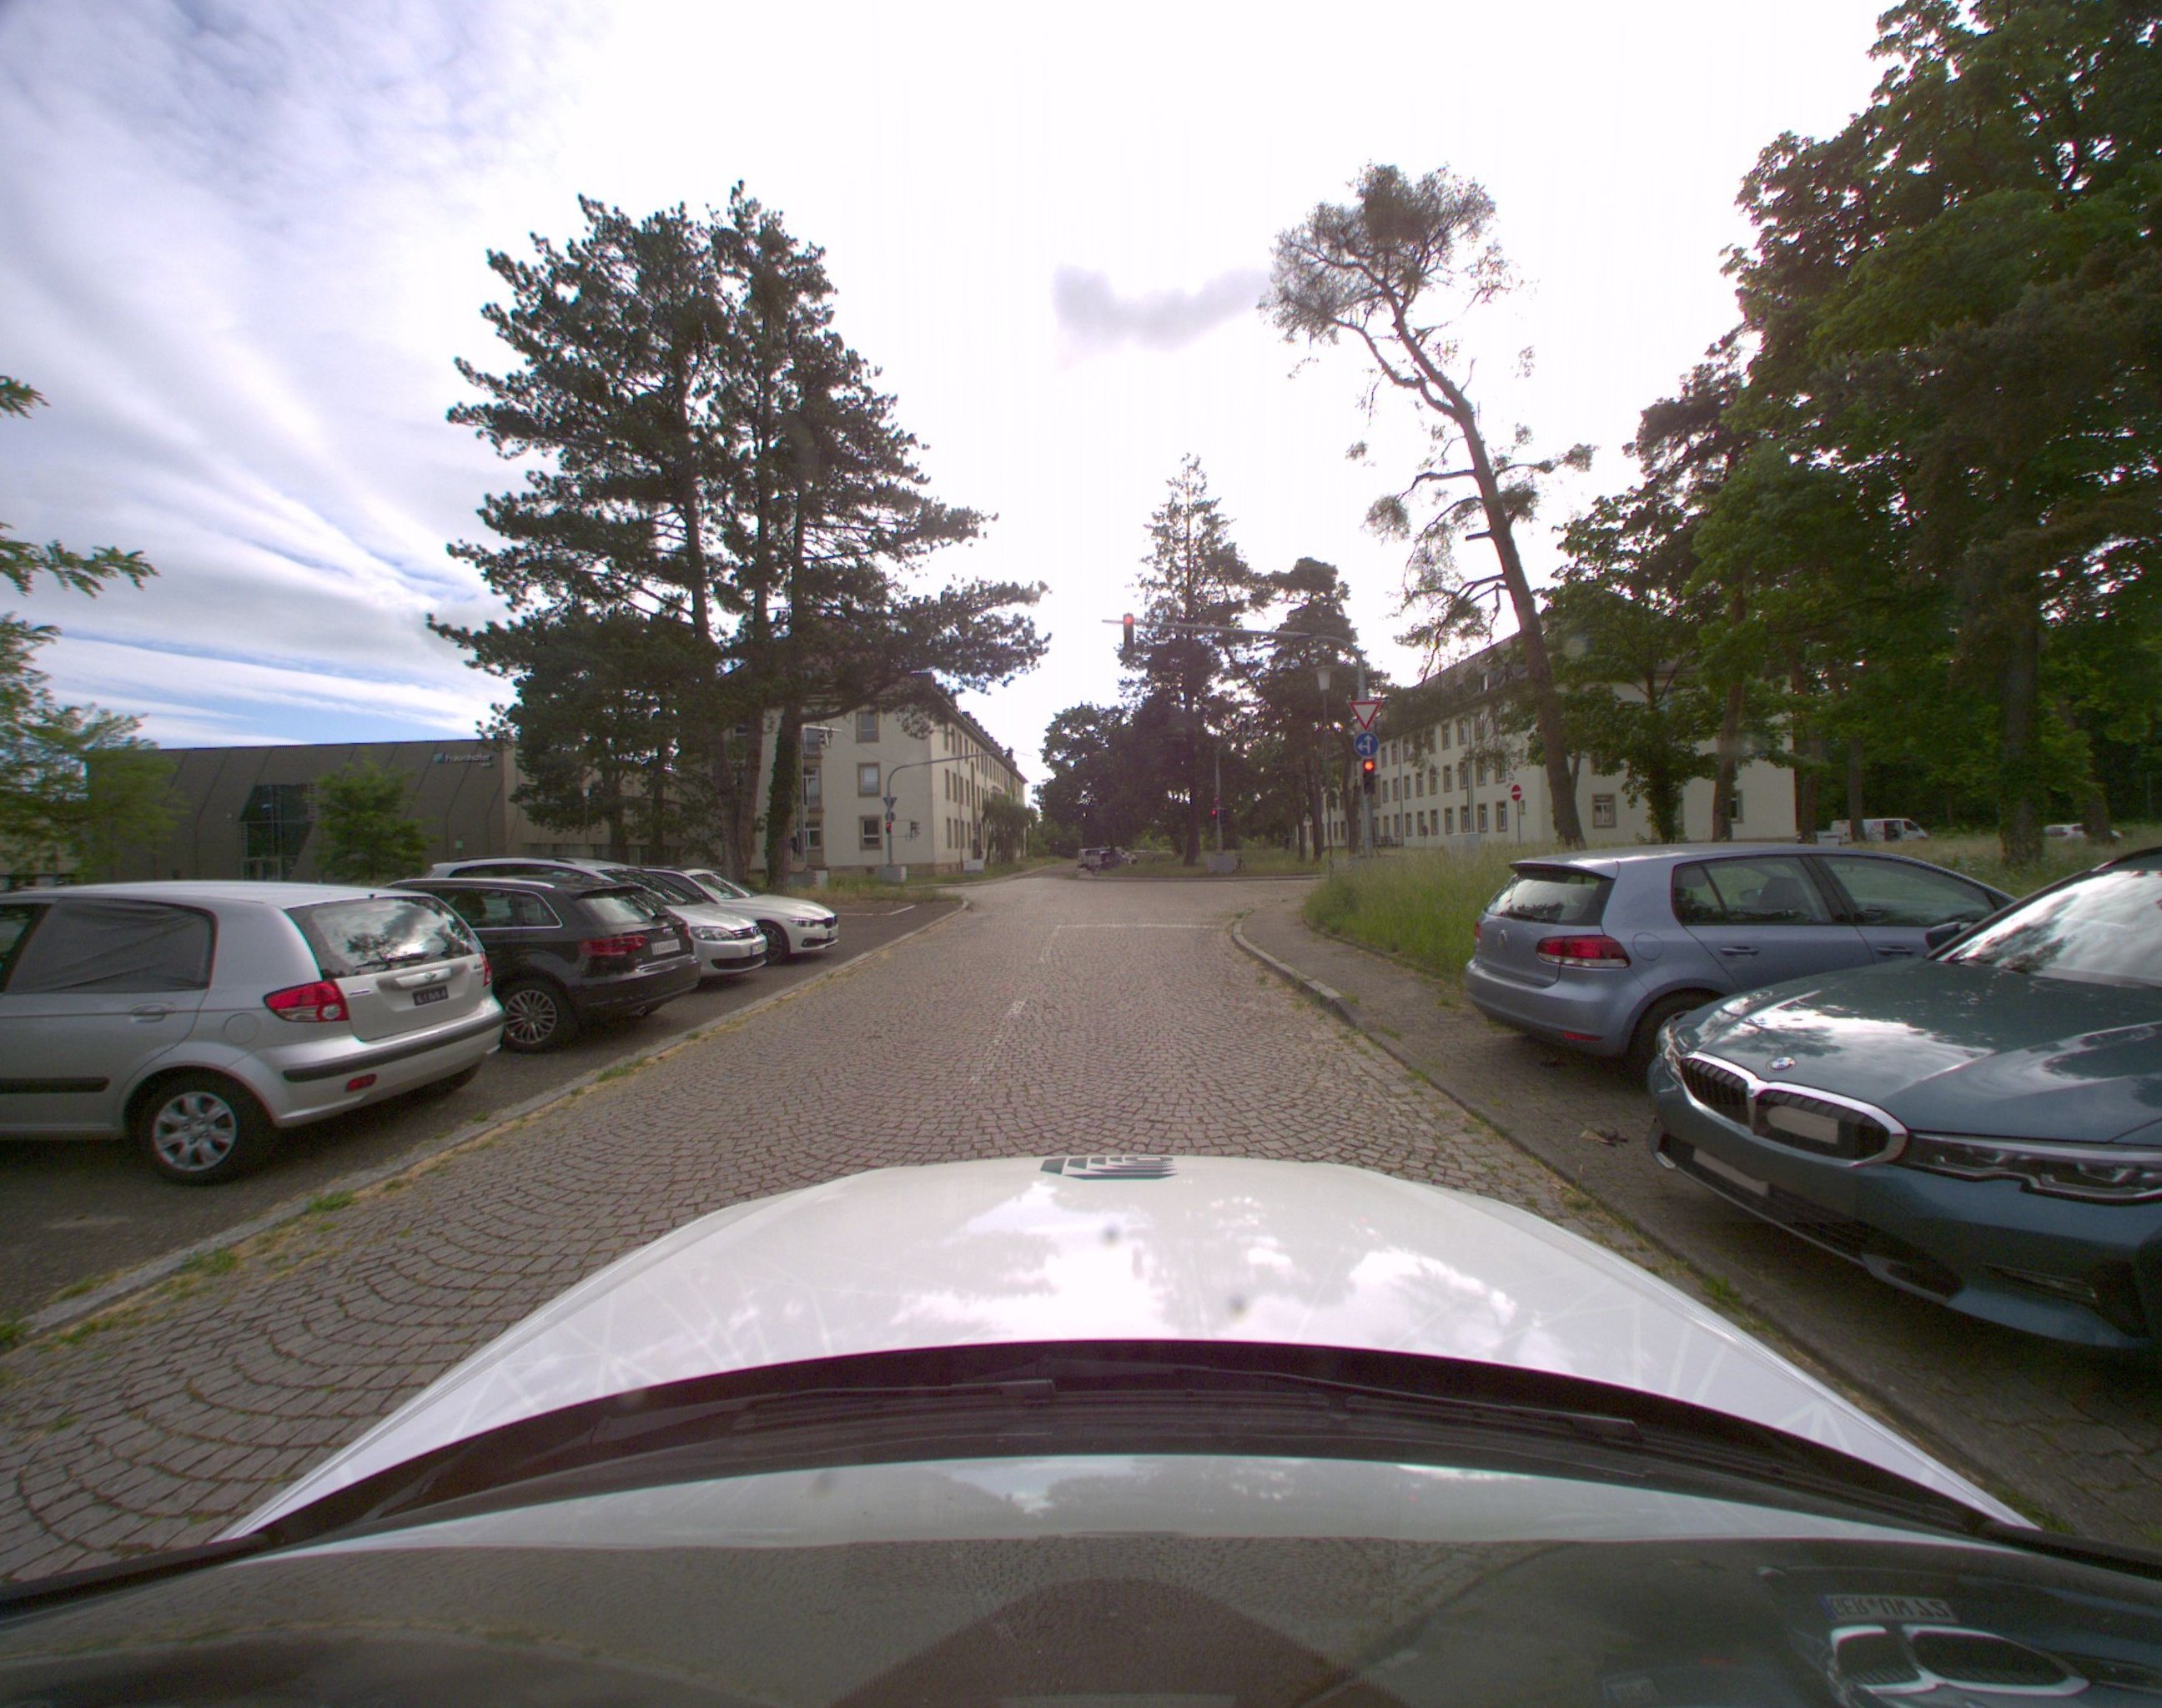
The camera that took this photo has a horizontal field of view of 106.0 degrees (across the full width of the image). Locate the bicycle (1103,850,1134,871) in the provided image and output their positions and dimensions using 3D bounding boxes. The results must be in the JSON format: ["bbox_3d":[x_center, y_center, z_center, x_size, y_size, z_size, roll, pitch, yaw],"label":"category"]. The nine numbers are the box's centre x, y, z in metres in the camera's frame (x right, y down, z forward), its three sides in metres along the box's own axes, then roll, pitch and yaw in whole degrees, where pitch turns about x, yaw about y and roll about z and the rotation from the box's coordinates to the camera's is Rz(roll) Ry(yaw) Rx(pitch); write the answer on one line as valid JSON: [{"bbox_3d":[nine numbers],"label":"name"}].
[{"bbox_3d":[2.507,0.430,54.795,2.062,1.378,0.620,-2,0,1],"label":"bicycle"}]

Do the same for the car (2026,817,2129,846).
[{"bbox_3d":[57.969,-1.309,47.436,3.468,1.507,2.001,-2,0,2],"label":"car"}]

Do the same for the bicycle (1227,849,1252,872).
[{"bbox_3d":[8.241,0.328,42.412,0.905,1.177,1.874,-2,0,1],"label":"bicycle"}]

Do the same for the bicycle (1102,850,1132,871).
[{"bbox_3d":[2.524,0.439,56.888,2.062,1.378,0.620,-2,0,1],"label":"bicycle"}]

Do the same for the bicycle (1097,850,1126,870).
[{"bbox_3d":[2.222,0.449,59.179,2.062,1.378,0.620,-2,0,1],"label":"bicycle"}]

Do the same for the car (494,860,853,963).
[{"bbox_3d":[-6.123,0.847,12.693,4.636,1.443,1.800,0,0,-3],"label":"car"}]

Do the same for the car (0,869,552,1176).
[{"bbox_3d":[-5.640,0.853,4.887,3.670,1.452,1.806,1,0,-3],"label":"car"}]

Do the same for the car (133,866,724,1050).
[{"bbox_3d":[-5.684,0.856,7.495,3.974,1.427,1.751,1,0,0],"label":"car"}]

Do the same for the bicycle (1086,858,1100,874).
[{"bbox_3d":[0.778,0.760,53.029,0.614,0.963,2.081,-2,0,8],"label":"bicycle"}]

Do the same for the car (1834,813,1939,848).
[{"bbox_3d":[57.505,-1.680,58.240,5.159,2.288,2.215,-2,0,2],"label":"car"}]

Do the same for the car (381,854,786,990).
[{"bbox_3d":[-6.036,0.799,10.293,3.978,1.547,1.722,1,0,-3],"label":"car"}]

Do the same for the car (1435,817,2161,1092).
[{"bbox_3d":[4.670,0.579,5.583,3.750,1.426,1.606,-3,0,0],"label":"car"}]

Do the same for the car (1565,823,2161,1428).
[{"bbox_3d":[4.676,0.614,3.019,4.744,1.482,1.760,-2,0,-2],"label":"car"}]

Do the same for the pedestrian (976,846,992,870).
[{"bbox_3d":[-8.395,0.350,70.506,1.081,2.013,1.023,-2,0,6],"label":"pedestrian"}]

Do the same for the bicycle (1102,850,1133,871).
[{"bbox_3d":[2.481,0.432,55.466,2.062,1.378,0.620,-2,0,1],"label":"bicycle"}]

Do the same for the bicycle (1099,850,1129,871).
[{"bbox_3d":[2.319,0.441,57.691,2.062,1.378,0.620,-2,0,1],"label":"bicycle"}]

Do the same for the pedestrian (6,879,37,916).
[{"bbox_3d":[-58.322,2.381,44.837,0.909,2.013,0.907,-2,0,43],"label":"pedestrian"}]

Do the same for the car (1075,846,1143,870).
[{"bbox_3d":[2.519,0.331,72.695,5.694,1.910,2.222,-2,0,-11],"label":"car"}]

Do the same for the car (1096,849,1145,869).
[{"bbox_3d":[3.324,0.457,69.308,3.924,1.544,1.998,-2,0,-4],"label":"car"}]

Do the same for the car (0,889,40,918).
[{"bbox_3d":[-57.036,2.674,41.507,1.985,1.430,4.464,-2,2,3],"label":"car"}]

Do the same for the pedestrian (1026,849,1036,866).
[{"bbox_3d":[-6.288,0.426,102.168,0.952,2.013,0.797,-2,0,11],"label":"pedestrian"}]

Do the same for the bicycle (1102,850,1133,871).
[{"bbox_3d":[2.494,0.435,56.091,2.062,1.378,0.620,-2,0,1],"label":"bicycle"}]
